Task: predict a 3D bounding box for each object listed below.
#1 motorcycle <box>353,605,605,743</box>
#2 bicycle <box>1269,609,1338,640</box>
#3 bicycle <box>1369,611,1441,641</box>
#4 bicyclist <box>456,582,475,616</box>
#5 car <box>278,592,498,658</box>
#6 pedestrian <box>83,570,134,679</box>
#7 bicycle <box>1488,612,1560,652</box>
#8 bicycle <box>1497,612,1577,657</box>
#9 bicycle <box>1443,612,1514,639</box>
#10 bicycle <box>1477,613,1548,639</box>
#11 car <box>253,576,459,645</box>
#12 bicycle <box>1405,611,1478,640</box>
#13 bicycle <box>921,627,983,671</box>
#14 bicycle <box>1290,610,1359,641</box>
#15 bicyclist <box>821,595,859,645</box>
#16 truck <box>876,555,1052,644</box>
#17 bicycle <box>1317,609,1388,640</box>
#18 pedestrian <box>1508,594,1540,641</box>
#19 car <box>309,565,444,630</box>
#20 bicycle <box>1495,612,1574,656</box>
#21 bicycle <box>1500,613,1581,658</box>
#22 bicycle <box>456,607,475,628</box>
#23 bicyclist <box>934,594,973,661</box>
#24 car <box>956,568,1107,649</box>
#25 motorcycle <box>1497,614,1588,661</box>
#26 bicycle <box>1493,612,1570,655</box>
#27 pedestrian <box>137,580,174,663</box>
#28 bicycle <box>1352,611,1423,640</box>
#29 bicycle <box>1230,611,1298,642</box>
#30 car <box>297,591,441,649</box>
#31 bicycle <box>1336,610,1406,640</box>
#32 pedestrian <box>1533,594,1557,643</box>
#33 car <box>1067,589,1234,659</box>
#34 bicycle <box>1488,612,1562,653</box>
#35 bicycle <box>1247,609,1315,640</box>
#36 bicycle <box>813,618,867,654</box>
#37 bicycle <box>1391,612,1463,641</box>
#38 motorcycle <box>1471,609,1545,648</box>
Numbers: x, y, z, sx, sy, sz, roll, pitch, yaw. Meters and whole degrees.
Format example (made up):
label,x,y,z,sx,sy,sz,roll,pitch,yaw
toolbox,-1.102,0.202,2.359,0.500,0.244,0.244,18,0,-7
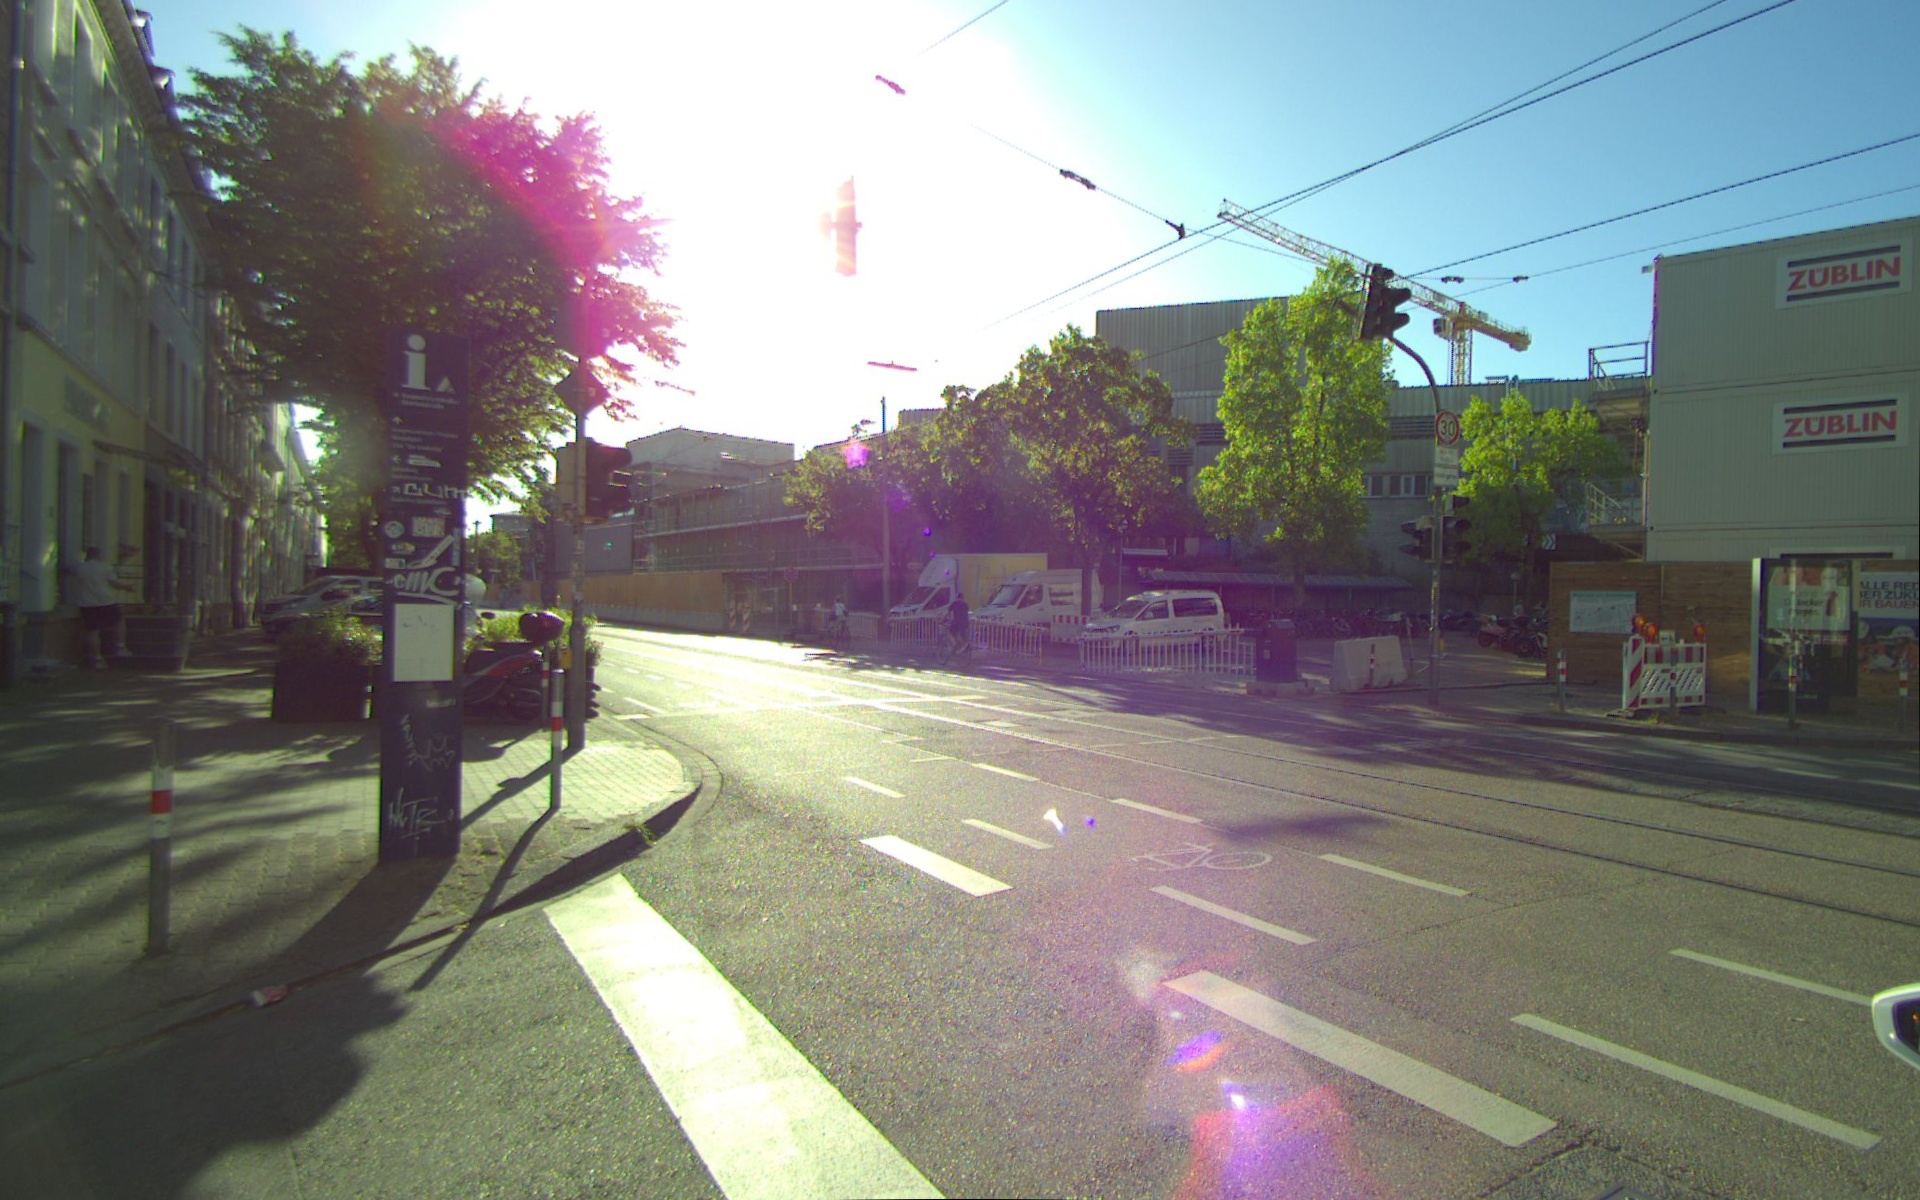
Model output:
label,x,y,z,sx,sy,sz,roll,pitch,yaw
motorcycle,-5.338,0.802,11.366,0.982,1.368,2.418,0,-3,28
bicycle,13.739,0.977,40.353,0.810,1.163,3.072,0,0,-22
bicycle,18.773,1.079,42.497,0.810,1.163,3.072,0,0,-22
bicyclist,-23.205,-0.053,47.125,0.719,1.593,1.019,1,0,-32
car,-14.493,0.620,25.712,1.661,1.510,4.629,1,-1,35
pedestrian,-13.277,0.372,15.668,0.534,1.665,0.564,0,1,-34
bicycle,18.629,1.057,33.220,2.010,1.274,0.543,0,1,21
bicycle,17.285,1.024,30.144,2.010,1.274,0.471,0,1,21
bicycle,23.482,1.128,45.544,0.810,1.163,3.072,0,0,-22
bicycle,25.902,1.206,47.179,0.810,1.163,3.072,0,0,-22
car,-19.225,0.323,32.236,2.005,2.018,5.331,1,0,34
bicycle,20.713,1.073,43.318,0.810,1.163,3.072,0,0,-22
bicycle,-0.225,1.237,25.908,0.675,1.032,1.904,1,0,-32
bicycle,14.735,1.010,40.720,0.810,1.163,3.072,0,0,-22
bicyclist,-4.084,0.684,34.158,0.886,1.661,1.091,2,-1,-31
truck,0.239,-0.078,41.253,7.039,3.393,2.370,-1,1,-32
bicycle,16.130,0.991,41.385,0.810,1.163,3.072,0,0,-22
pedestrian,24.573,0.766,43.802,0.925,2.040,0.799,0,0,-21
car,-27.006,-0.052,46.573,5.147,2.611,2.224,5,-2,-35
bicycle,17.484,1.028,30.607,2.010,1.274,0.471,0,1,21
bicycle,17.130,1.030,29.690,2.010,1.274,0.471,0,1,21
bicycle,-23.240,0.807,47.161,0.605,0.966,1.867,1,0,-32
bicyclist,-0.180,0.693,25.845,0.675,1.680,0.805,1,0,-32
car,2.615,0.235,36.045,5.325,2.565,1.981,-3,2,-35
motorcycle,16.620,1.053,28.718,2.169,1.274,0.543,0,1,21
bicycle,17.935,1.040,31.570,2.010,1.274,0.543,0,1,21
pedestrian,-16.526,0.436,20.631,0.534,1.665,0.564,0,1,-34
bicycle,17.888,1.049,42.118,0.810,1.163,3.072,0,0,-22
bicycle,11.859,1.013,39.378,0.810,1.163,3.072,0,0,-22
car,-17.617,0.575,30.035,1.660,1.523,3.315,4,2,34
bicycle,17.062,1.022,41.807,0.810,1.163,3.072,0,0,-22
pedestrian,24.813,0.783,42.612,0.790,2.040,1.027,1,0,34
car,5.877,0.660,30.900,4.882,1.918,1.997,-1,2,-27
bicycle,18.360,1.050,32.688,2.010,1.274,0.543,0,1,21
bicycle,12.706,0.942,39.881,0.810,1.163,3.072,0,0,-22
bicycle,-4.101,1.207,34.154,0.886,1.107,2.410,2,-1,-31
bicycle,19.888,1.116,42.902,0.810,1.163,3.072,0,0,-22
motorcycle,18.761,0.973,34.454,2.169,1.274,0.543,0,1,21
